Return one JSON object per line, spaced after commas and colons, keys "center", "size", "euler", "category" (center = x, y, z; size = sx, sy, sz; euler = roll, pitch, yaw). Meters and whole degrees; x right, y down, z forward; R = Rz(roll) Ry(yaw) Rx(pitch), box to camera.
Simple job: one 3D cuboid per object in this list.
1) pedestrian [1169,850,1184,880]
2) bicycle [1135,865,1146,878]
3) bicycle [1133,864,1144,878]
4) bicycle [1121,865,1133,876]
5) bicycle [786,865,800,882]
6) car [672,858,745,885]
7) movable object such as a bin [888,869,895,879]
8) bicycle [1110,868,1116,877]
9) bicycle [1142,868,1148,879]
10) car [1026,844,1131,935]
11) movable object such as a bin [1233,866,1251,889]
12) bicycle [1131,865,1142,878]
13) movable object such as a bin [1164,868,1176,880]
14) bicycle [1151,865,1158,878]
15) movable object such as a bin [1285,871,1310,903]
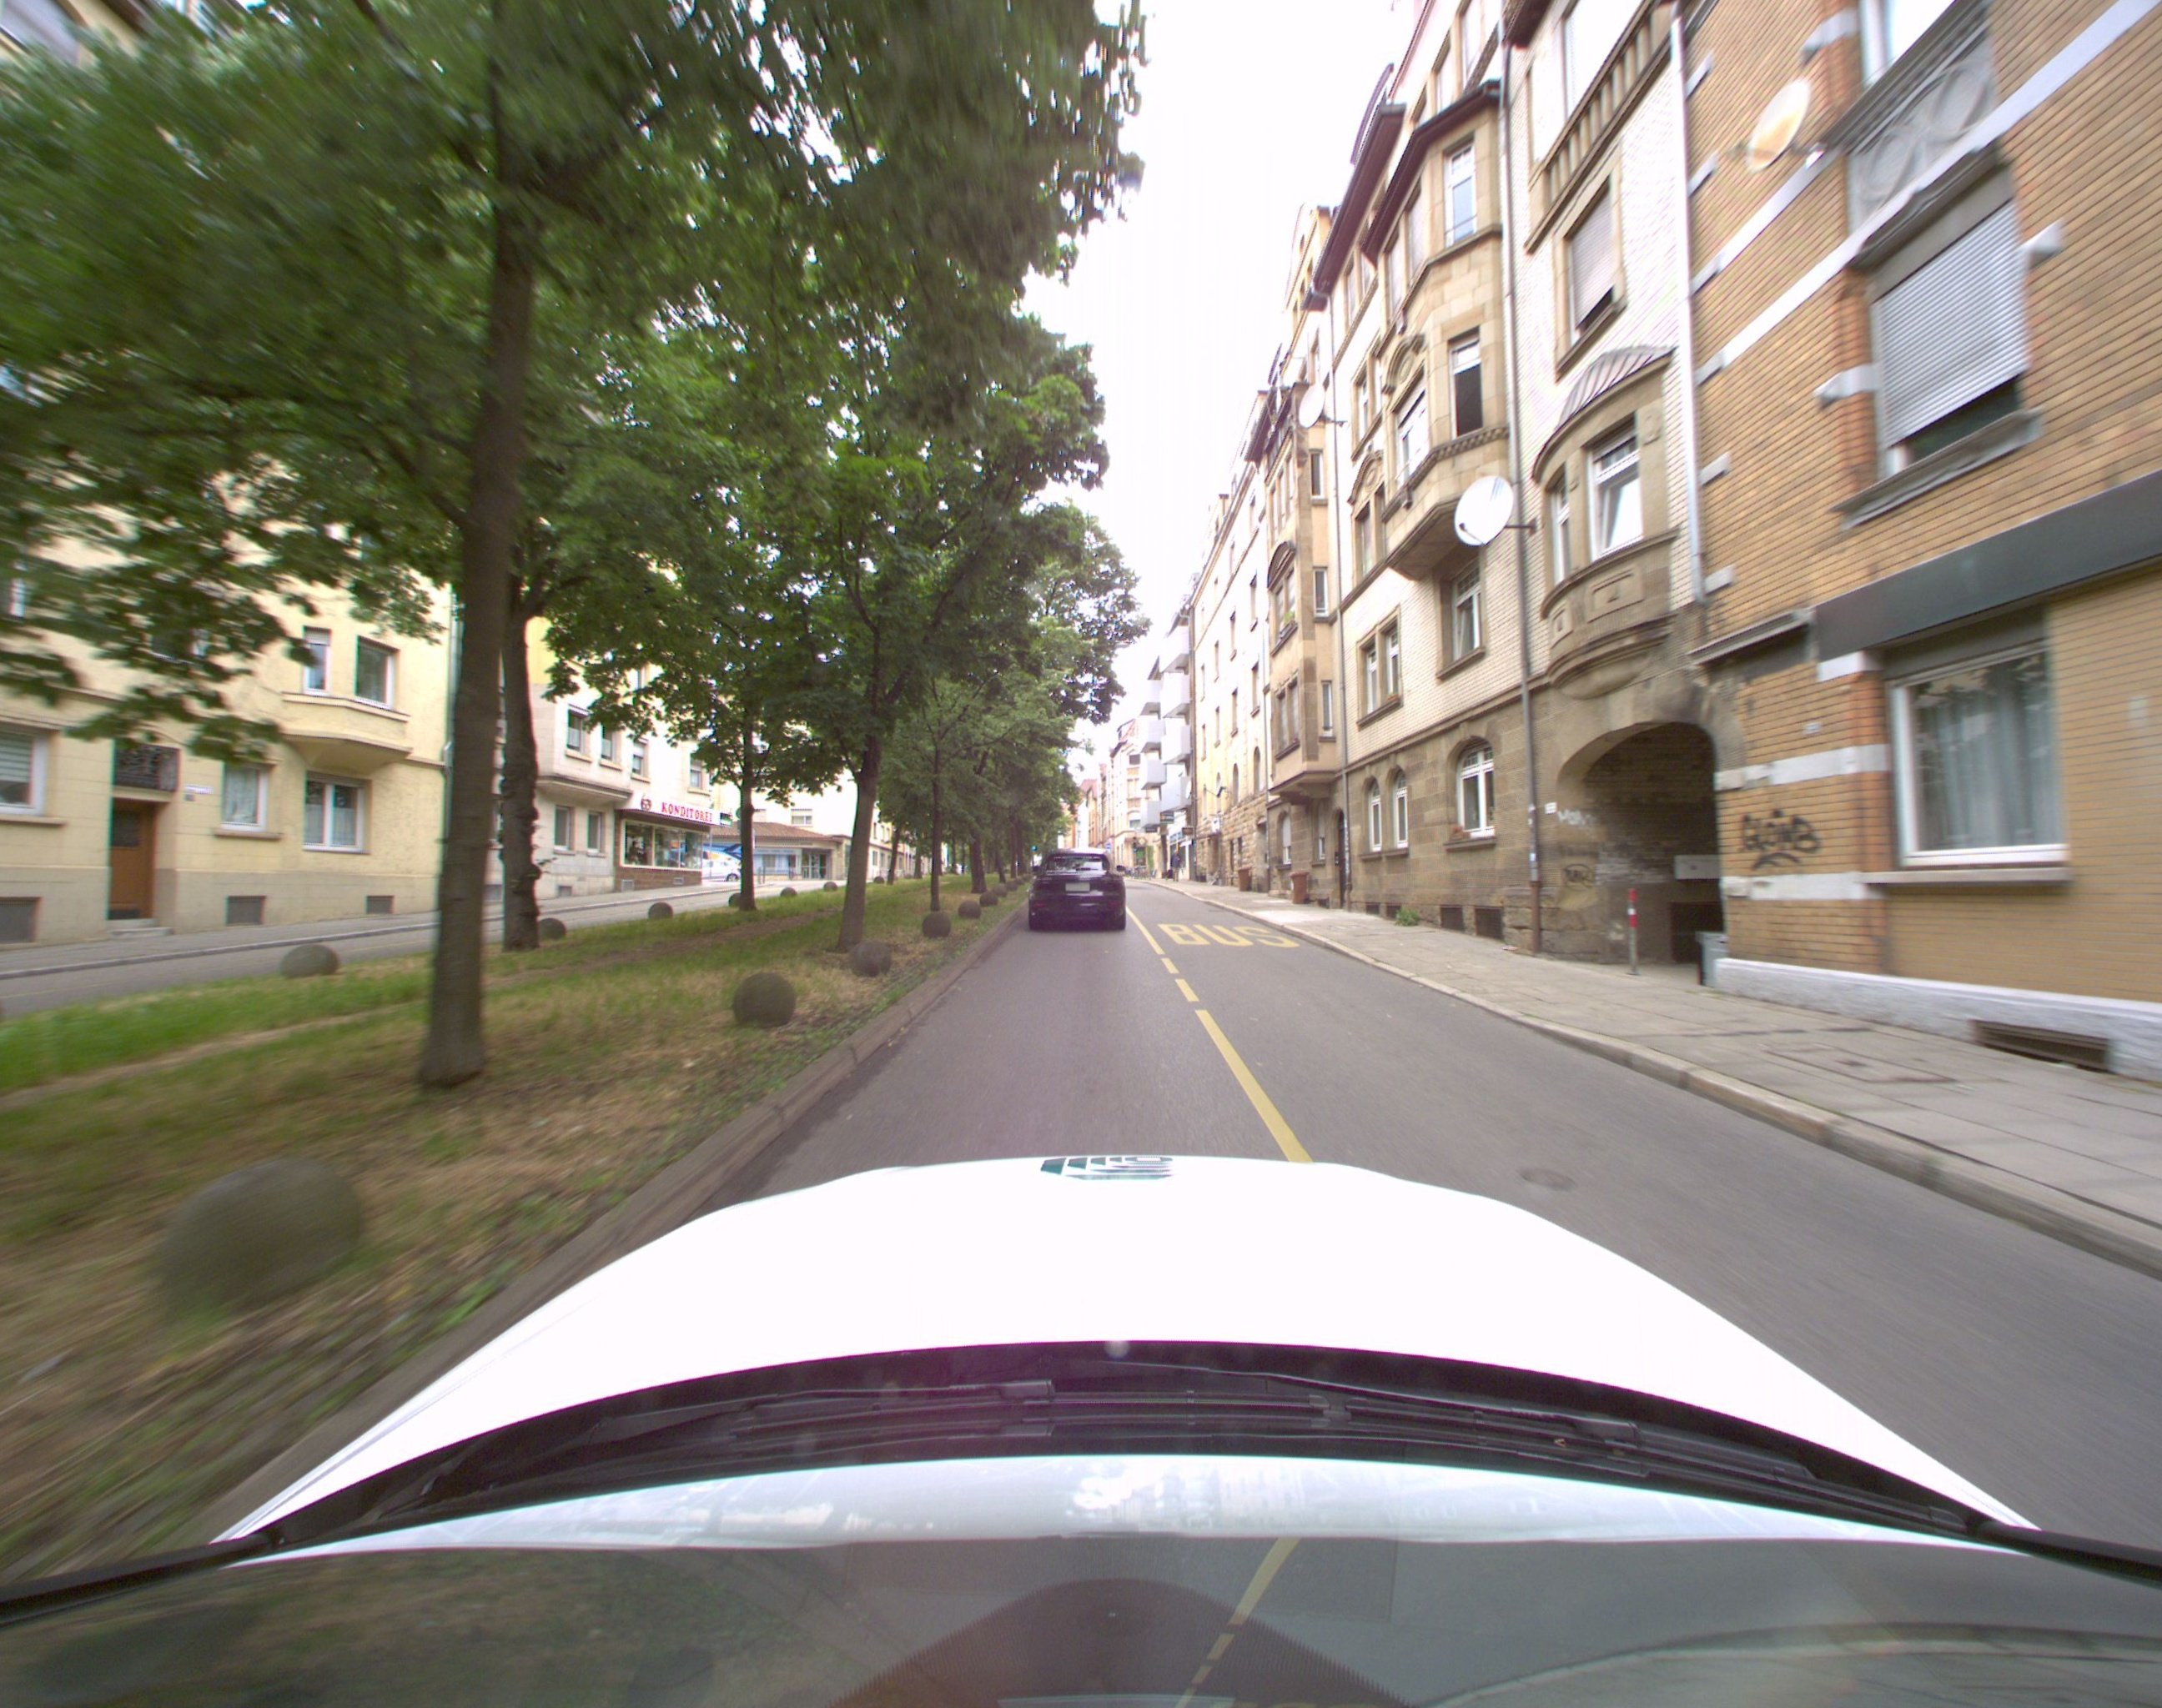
{"center": [5.481, 0.624, 46.868], "size": [0.749, 1.693, 0.858], "euler": [-1, -2, 0], "category": "pedestrian"}
{"center": [4.242, 1.270, 57.951], "size": [0.567, 0.931, 1.773], "euler": [0, -2, -2], "category": "bicycle"}
{"center": [4.353, 1.281, 61.294], "size": [0.286, 1.054, 1.752], "euler": [1, -2, -14], "category": "bicycle"}
{"center": [4.708, 1.723, 83.536], "size": [0.877, 1.129, 2.976], "euler": [0, -2, -2], "category": "bicycle"}
{"center": [-19.933, 1.358, 56.384], "size": [0.765, 1.085, 2.021], "euler": [2, -2, -23], "category": "bicycle"}
{"center": [-24.443, 1.156, 53.501], "size": [4.058, 1.479, 1.802], "euler": [-3, -1, -34], "category": "car"}
{"center": [-19.746, 2.074, 84.914], "size": [0.691, 1.060, 0.688], "euler": [0, -3, -7], "category": "movable object such as a bin"}
{"center": [3.717, 2.134, 94.620], "size": [0.445, 1.037, 2.245], "euler": [-1, -2, -3], "category": "bicycle"}
{"center": [6.457, 1.925, 81.811], "size": [0.348, 1.059, 1.832], "euler": [2, -1, -3], "category": "bicycle"}
{"center": [-0.038, 0.658, 17.669], "size": [1.987, 1.665, 4.001], "euler": [1, 1, 0], "category": "car"}
{"center": [6.360, 0.940, 32.185], "size": [0.592, 0.904, 0.502], "euler": [0, -4, 0], "category": "movable object such as a bin"}
{"center": [4.129, 1.333, 61.016], "size": [0.286, 0.931, 1.752], "euler": [1, -2, -14], "category": "bicycle"}
{"center": [5.216, 1.169, 47.705], "size": [0.605, 0.669, 0.858], "euler": [-1, -2, 0], "category": "movable object such as a bin"}
{"center": [7.348, 1.731, 81.527], "size": [0.445, 1.161, 1.833], "euler": [-1, 4, -3], "category": "bicycle"}
{"center": [6.281, 0.945, 23.628], "size": [0.592, 0.904, 0.563], "euler": [0, -1, 0], "category": "movable object such as a bin"}
